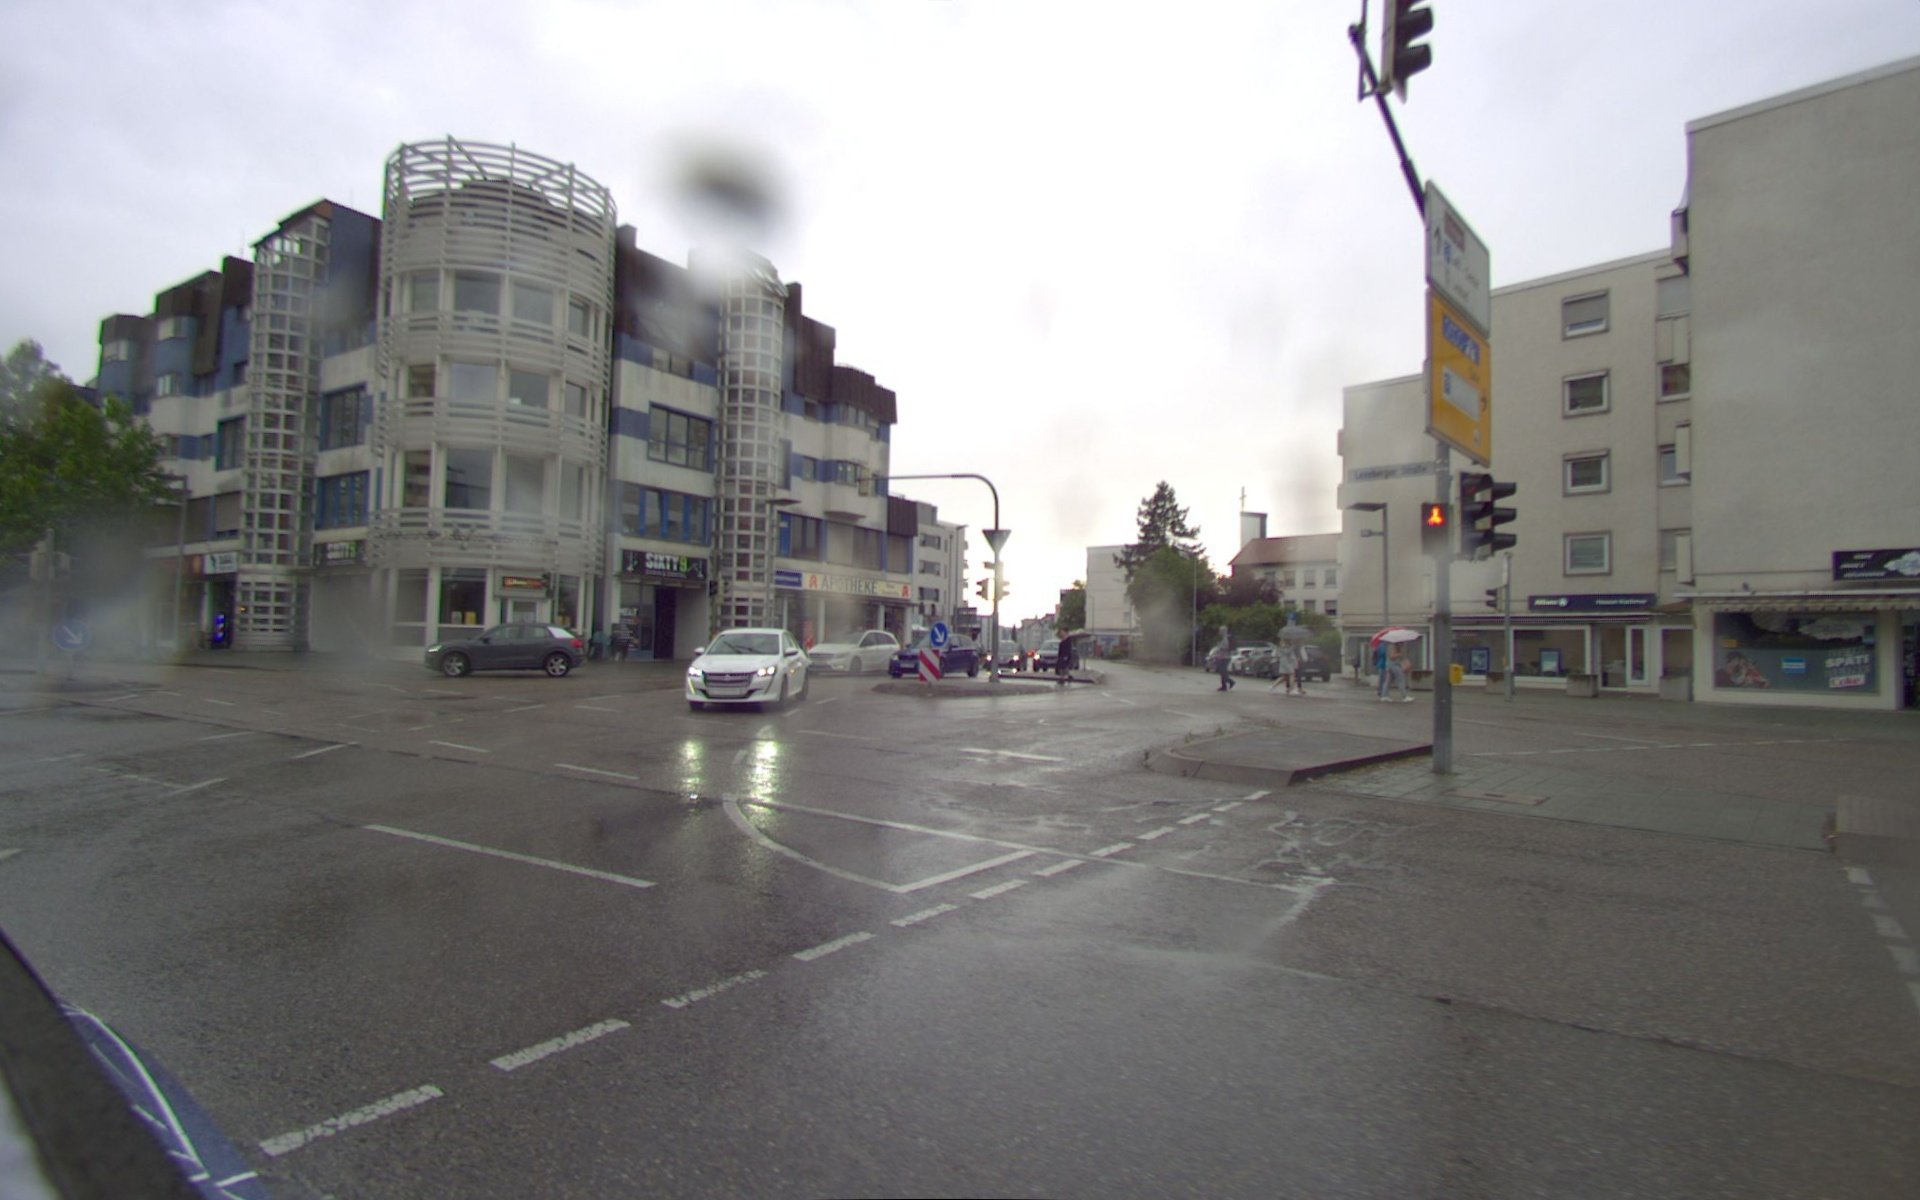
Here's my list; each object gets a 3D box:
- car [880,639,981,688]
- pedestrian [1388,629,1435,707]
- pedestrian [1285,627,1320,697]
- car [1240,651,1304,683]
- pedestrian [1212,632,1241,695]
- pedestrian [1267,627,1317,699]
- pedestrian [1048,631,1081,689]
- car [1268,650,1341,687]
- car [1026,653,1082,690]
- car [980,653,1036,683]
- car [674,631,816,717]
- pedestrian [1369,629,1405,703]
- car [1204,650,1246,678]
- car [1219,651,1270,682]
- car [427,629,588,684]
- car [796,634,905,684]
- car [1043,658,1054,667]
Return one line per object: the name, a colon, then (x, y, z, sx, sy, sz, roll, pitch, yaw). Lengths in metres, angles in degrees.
car: (-0.877, 2.009, 32.579, 1.742, 1.466, 3.781, 0, -3, 25)
pedestrian: (10.133, 1.510, 22.743, 0.933, 1.690, 0.909, 0, -3, 25)
pedestrian: (8.790, 1.580, 25.989, 0.830, 1.749, 0.948, 0, -3, 18)
car: (14.730, 3.124, 47.966, 1.813, 1.445, 4.270, 0, -3, 2)
pedestrian: (7.234, 1.710, 27.516, 0.707, 1.668, 0.812, 1, -3, 12)
pedestrian: (8.264, 1.555, 25.161, 1.130, 1.757, 0.853, 0, -3, 22)
pedestrian: (2.976, 1.704, 28.822, 0.646, 1.597, 0.916, 2, -3, -12)
car: (14.371, 2.831, 42.457, 1.813, 1.471, 4.183, 0, -3, 3)
car: (4.335, 3.245, 46.190, 1.981, 1.628, 3.981, -2, -4, 14)
car: (2.447, 3.373, 50.768, 1.788, 1.379, 3.948, 0, -3, 19)
car: (-3.893, 1.319, 18.934, 1.720, 1.420, 3.893, 1, -2, 2)
pedestrian: (10.011, 1.534, 23.738, 0.668, 1.698, 0.802, 1, -3, 16)
car: (15.358, 3.697, 58.809, 1.613, 1.517, 3.876, 1, -3, 3)
car: (14.872, 3.439, 53.096, 1.616, 1.511, 4.342, 1, -3, 3)
car: (-12.553, 1.562, 28.296, 3.976, 1.455, 1.741, 1, -3, -22)
car: (-3.548, 1.970, 33.546, 1.725, 1.540, 4.028, -1, -4, 25)
car: (15.668, 11.006, 179.029, 1.848, 1.448, 3.736, 1, -3, 4)
